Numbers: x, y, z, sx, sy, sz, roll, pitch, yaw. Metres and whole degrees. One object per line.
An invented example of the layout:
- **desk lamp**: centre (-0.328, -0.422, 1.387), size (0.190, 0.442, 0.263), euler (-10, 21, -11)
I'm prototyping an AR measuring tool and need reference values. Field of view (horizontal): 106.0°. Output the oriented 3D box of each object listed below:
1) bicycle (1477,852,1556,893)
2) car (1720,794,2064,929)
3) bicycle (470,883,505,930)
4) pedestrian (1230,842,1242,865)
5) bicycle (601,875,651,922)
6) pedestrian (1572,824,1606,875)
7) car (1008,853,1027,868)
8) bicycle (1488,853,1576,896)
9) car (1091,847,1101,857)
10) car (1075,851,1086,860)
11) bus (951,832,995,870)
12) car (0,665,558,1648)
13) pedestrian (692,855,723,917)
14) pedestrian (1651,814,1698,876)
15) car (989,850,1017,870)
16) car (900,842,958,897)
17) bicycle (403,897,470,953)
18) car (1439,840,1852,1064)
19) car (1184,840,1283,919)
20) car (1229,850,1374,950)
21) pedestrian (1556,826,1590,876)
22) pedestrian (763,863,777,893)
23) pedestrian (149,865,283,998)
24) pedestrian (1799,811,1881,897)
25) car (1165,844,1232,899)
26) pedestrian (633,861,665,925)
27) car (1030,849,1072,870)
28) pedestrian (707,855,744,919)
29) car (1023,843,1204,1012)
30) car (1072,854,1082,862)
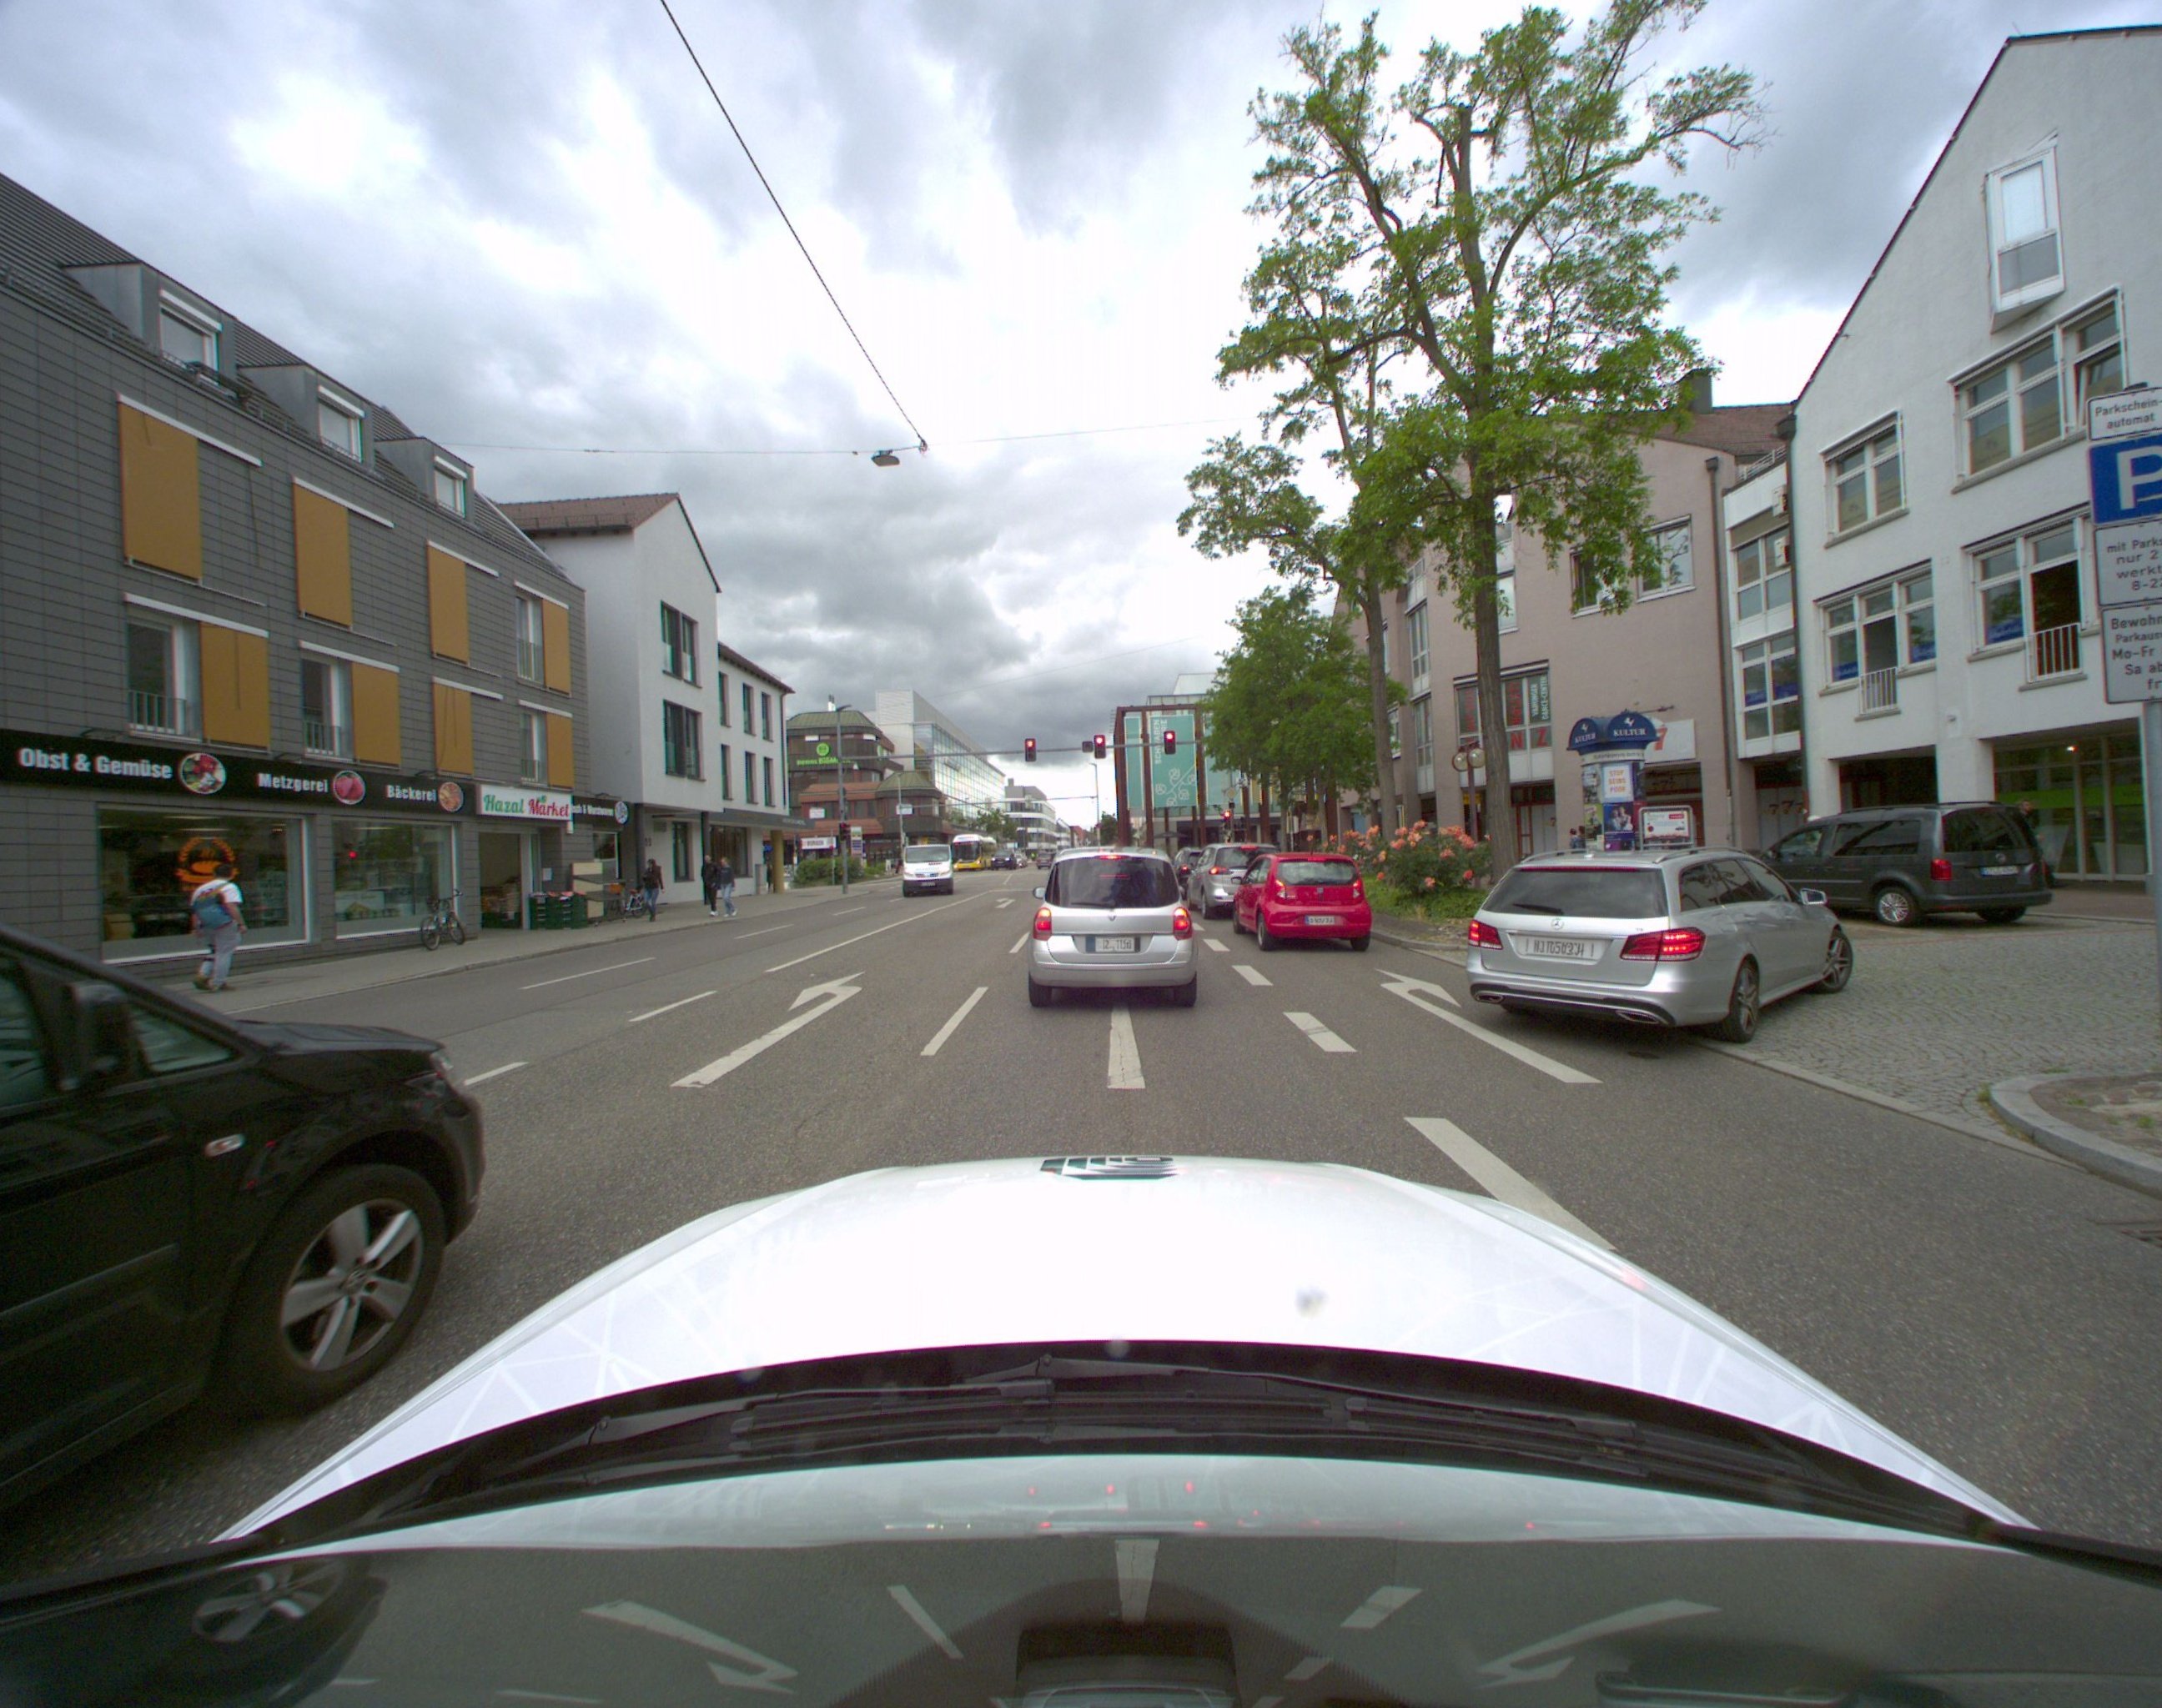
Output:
- **bicycle**: centre (11.256, 0.470, 21.071), size (1.760, 0.997, 0.447), euler (-2, 0, 5)
- **car**: centre (13.107, 0.089, 13.565), size (1.633, 1.831, 3.963), euler (-3, 0, -3)
- **bicycle**: centre (-14.707, 1.289, 20.181), size (1.273, 1.127, 0.390), euler (-2, 0, 41)
- **pedestrian**: centre (11.636, -0.043, 61.085), size (0.652, 1.650, 0.557), euler (-2, 0, -13)
- **bicycle**: centre (-12.729, 1.220, 22.829), size (0.385, 1.186, 1.825), euler (-2, 0, -1)
- **pedestrian**: centre (16.086, -0.144, 25.786), size (0.665, 1.563, 0.618), euler (-2, 0, -20)
- **car**: centre (-6.310, 0.642, 81.057), size (1.550, 1.392, 3.288), euler (-2, 0, 1)
- **bicycle**: centre (11.339, 0.504, 20.514), size (1.892, 0.997, 0.468), euler (-2, 0, 5)
- **car**: centre (3.023, -0.326, 164.984), size (1.987, 1.949, 4.951), euler (-2, 0, 1)
- **car**: centre (-0.061, 0.302, 158.262), size (1.793, 1.540, 4.068), euler (-2, 0, 3)
- **bus**: centre (-9.997, -0.263, 76.275), size (2.677, 3.261, 8.654), euler (-2, 0, 1)
- **car**: centre (-2.929, 0.581, 0.813), size (1.738, 1.855, 4.635), euler (-1, 0, 1)
- **pedestrian**: centre (-10.994, 0.926, 23.988), size (0.567, 1.775, 0.647), euler (-2, 0, 0)
- **pedestrian**: centre (17.890, -0.266, 24.577), size (0.786, 1.793, 0.819), euler (-2, 0, 1)
- **car**: centre (-7.005, 0.535, 73.489), size (1.987, 1.706, 4.065), euler (-2, 0, 1)
- **car**: centre (-6.001, 0.581, 32.444), size (1.994, 1.888, 5.141), euler (-3, 0, -10)
- **bicycle**: centre (-12.604, 1.371, 15.968), size (0.325, 0.954, 1.479), euler (-2, 0, -9)
- **car**: centre (5.375, 0.644, 7.543), size (4.389, 1.448, 1.801), euler (-2, 1, -36)
- **car**: centre (3.410, 0.523, 18.885), size (1.581, 1.634, 3.916), euler (0, 0, 0)
- **car**: centre (3.481, 0.656, 13.391), size (1.580, 1.443, 3.350), euler (0, 0, 2)
- **pedestrian**: centre (15.446, -0.094, 25.569), size (0.611, 1.515, 0.618), euler (-2, 0, -20)
- **pedestrian**: centre (-17.538, 1.361, 45.913), size (0.664, 1.649, 0.788), euler (-2, 0, -20)
- **pedestrian**: centre (-11.813, 1.024, 11.159), size (0.751, 1.705, 0.981), euler (1, 0, 1)
- **pedestrian**: centre (15.304, -0.002, 16.441), size (0.786, 1.659, 0.819), euler (-4, 0, 1)
- **car**: centre (3.672, 0.509, 26.008), size (1.581, 1.595, 3.868), euler (0, 0, 0)
- **pedestrian**: centre (-11.627, 1.035, 21.944), size (0.654, 1.650, 0.555), euler (-2, 0, -22)
- **car**: centre (-2.596, 0.458, 71.122), size (1.900, 1.677, 4.266), euler (-2, 0, 24)
- **pedestrian**: centre (-10.267, 0.932, 23.529), size (0.679, 1.790, 0.649), euler (-2, 0, 2)
- **car**: centre (0.349, 0.663, 9.151), size (1.634, 1.527, 3.395), euler (-1, 0, 1)
- **car**: centre (-0.907, 0.862, 180.216), size (1.793, 1.540, 4.068), euler (-2, 0, 3)
